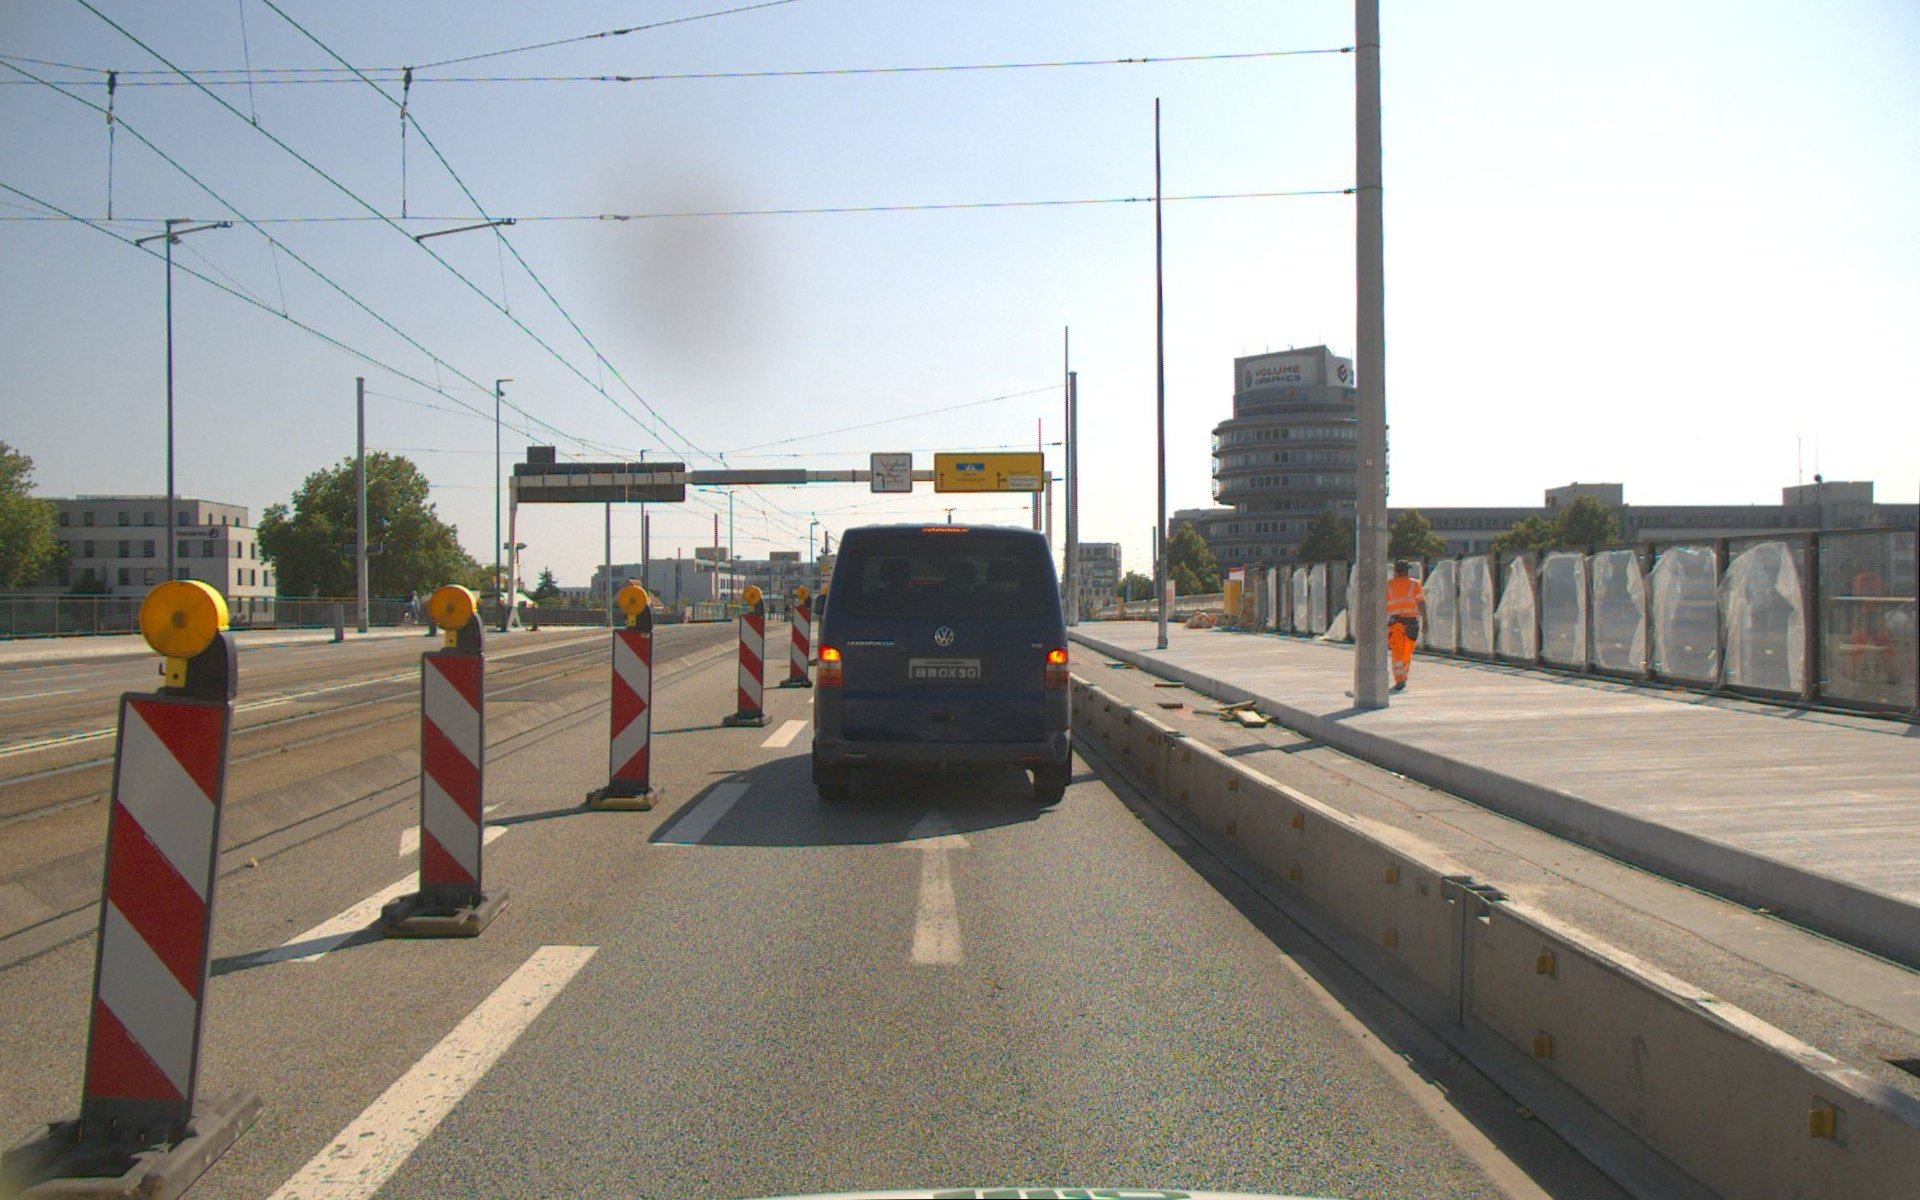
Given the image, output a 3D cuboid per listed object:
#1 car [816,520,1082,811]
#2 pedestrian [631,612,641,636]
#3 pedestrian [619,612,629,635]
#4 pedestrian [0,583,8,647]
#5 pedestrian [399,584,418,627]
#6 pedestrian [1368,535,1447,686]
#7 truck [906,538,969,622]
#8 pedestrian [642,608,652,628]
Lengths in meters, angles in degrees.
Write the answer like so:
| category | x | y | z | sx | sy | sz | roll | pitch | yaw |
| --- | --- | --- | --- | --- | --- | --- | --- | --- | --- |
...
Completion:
| category | x | y | z | sx | sy | sz | roll | pitch | yaw |
| --- | --- | --- | --- | --- | --- | --- | --- | --- | --- |
| car | -0.189 | 0.421 | 13.131 | 1.779 | 1.939 | 4.051 | 0 | 0 | -3 |
| pedestrian | -25.197 | 1.853 | 128.703 | 0.621 | 1.805 | 0.752 | 0 | 0 | -1 |
| pedestrian | -26.127 | 1.806 | 128.705 | 0.621 | 1.783 | 0.752 | 0 | 0 | -2 |
| pedestrian | -26.003 | 0.405 | 44.487 | 0.485 | 1.724 | 0.474 | 1 | -1 | -1 |
| pedestrian | -24.539 | 0.240 | 73.612 | 0.621 | 1.926 | 0.752 | 0 | 0 | -1 |
| pedestrian | 5.988 | 0.141 | 22.158 | 0.766 | 1.969 | 0.799 | -2 | 0 | -1 |
| truck | -0.970 | -0.876 | 69.137 | 2.410 | 3.189 | 11.214 | -1 | 1 | -1 |
| pedestrian | -24.884 | 1.423 | 131.535 | 0.621 | 1.626 | 0.752 | 0 | 0 | -1 |
